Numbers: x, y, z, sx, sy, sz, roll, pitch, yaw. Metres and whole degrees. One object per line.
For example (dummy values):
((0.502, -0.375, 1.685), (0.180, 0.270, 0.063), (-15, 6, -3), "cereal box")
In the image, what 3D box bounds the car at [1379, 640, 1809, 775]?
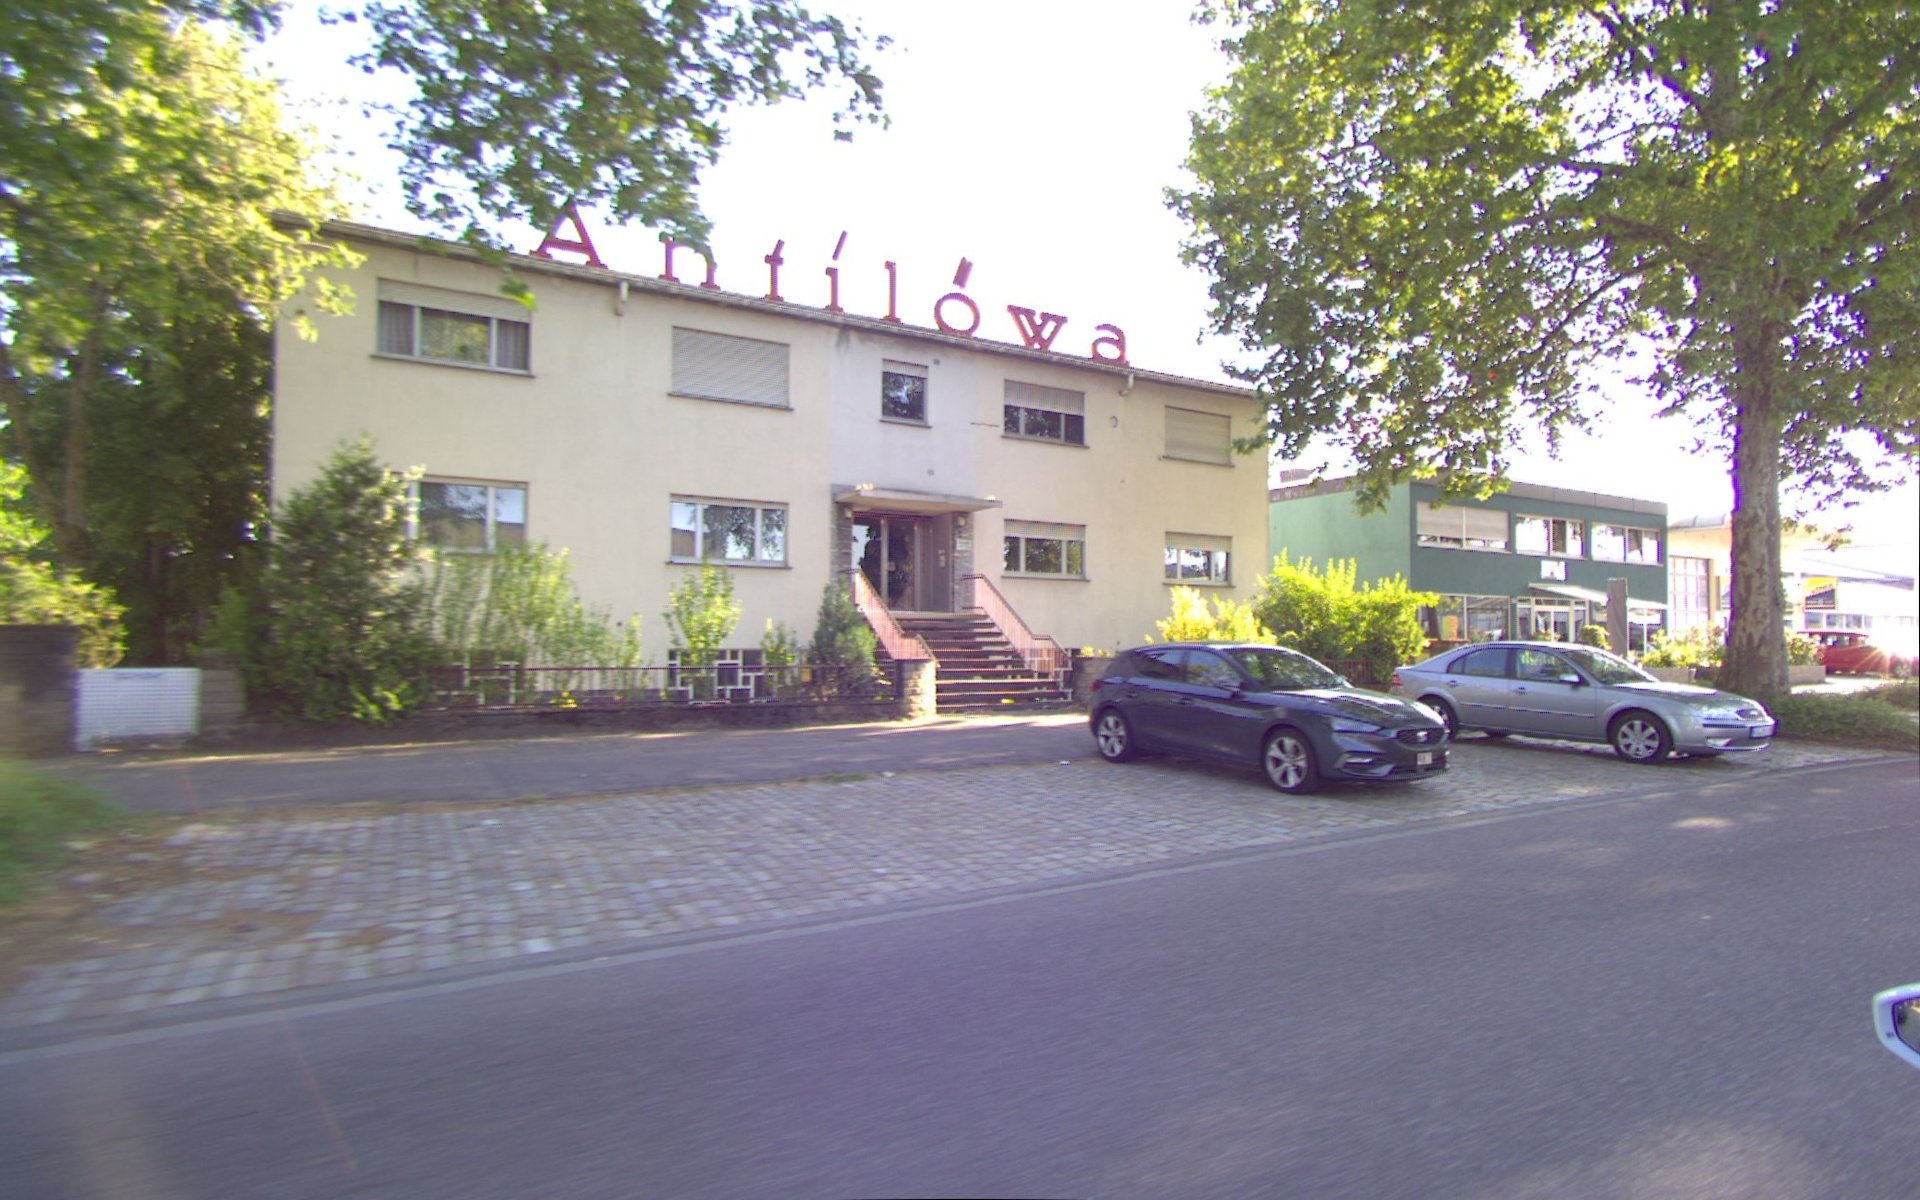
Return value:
((8.308, 1.294, 13.668), (1.976, 1.441, 4.579), (1, -2, -30), "car")

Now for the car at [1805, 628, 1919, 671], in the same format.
((39.048, 2.087, 42.469), (1.977, 1.655, 4.689), (2, -1, -31), "car")

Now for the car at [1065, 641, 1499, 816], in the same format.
((3.258, 1.206, 11.049), (1.978, 1.441, 4.331), (1, -2, -32), "car")

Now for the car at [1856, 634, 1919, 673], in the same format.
((43.248, 2.423, 44.665), (1.977, 1.664, 4.694), (2, -1, -31), "car")

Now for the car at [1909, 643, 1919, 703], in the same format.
((25.550, 1.849, 23.659), (1.977, 1.465, 4.276), (2, -1, -30), "car")

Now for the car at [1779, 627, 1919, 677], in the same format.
((36.678, 2.085, 40.948), (1.977, 1.843, 4.721), (2, -1, -31), "car")

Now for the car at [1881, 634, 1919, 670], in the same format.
((45.549, 2.431, 46.023), (1.907, 1.613, 4.637), (2, -1, -31), "car")
